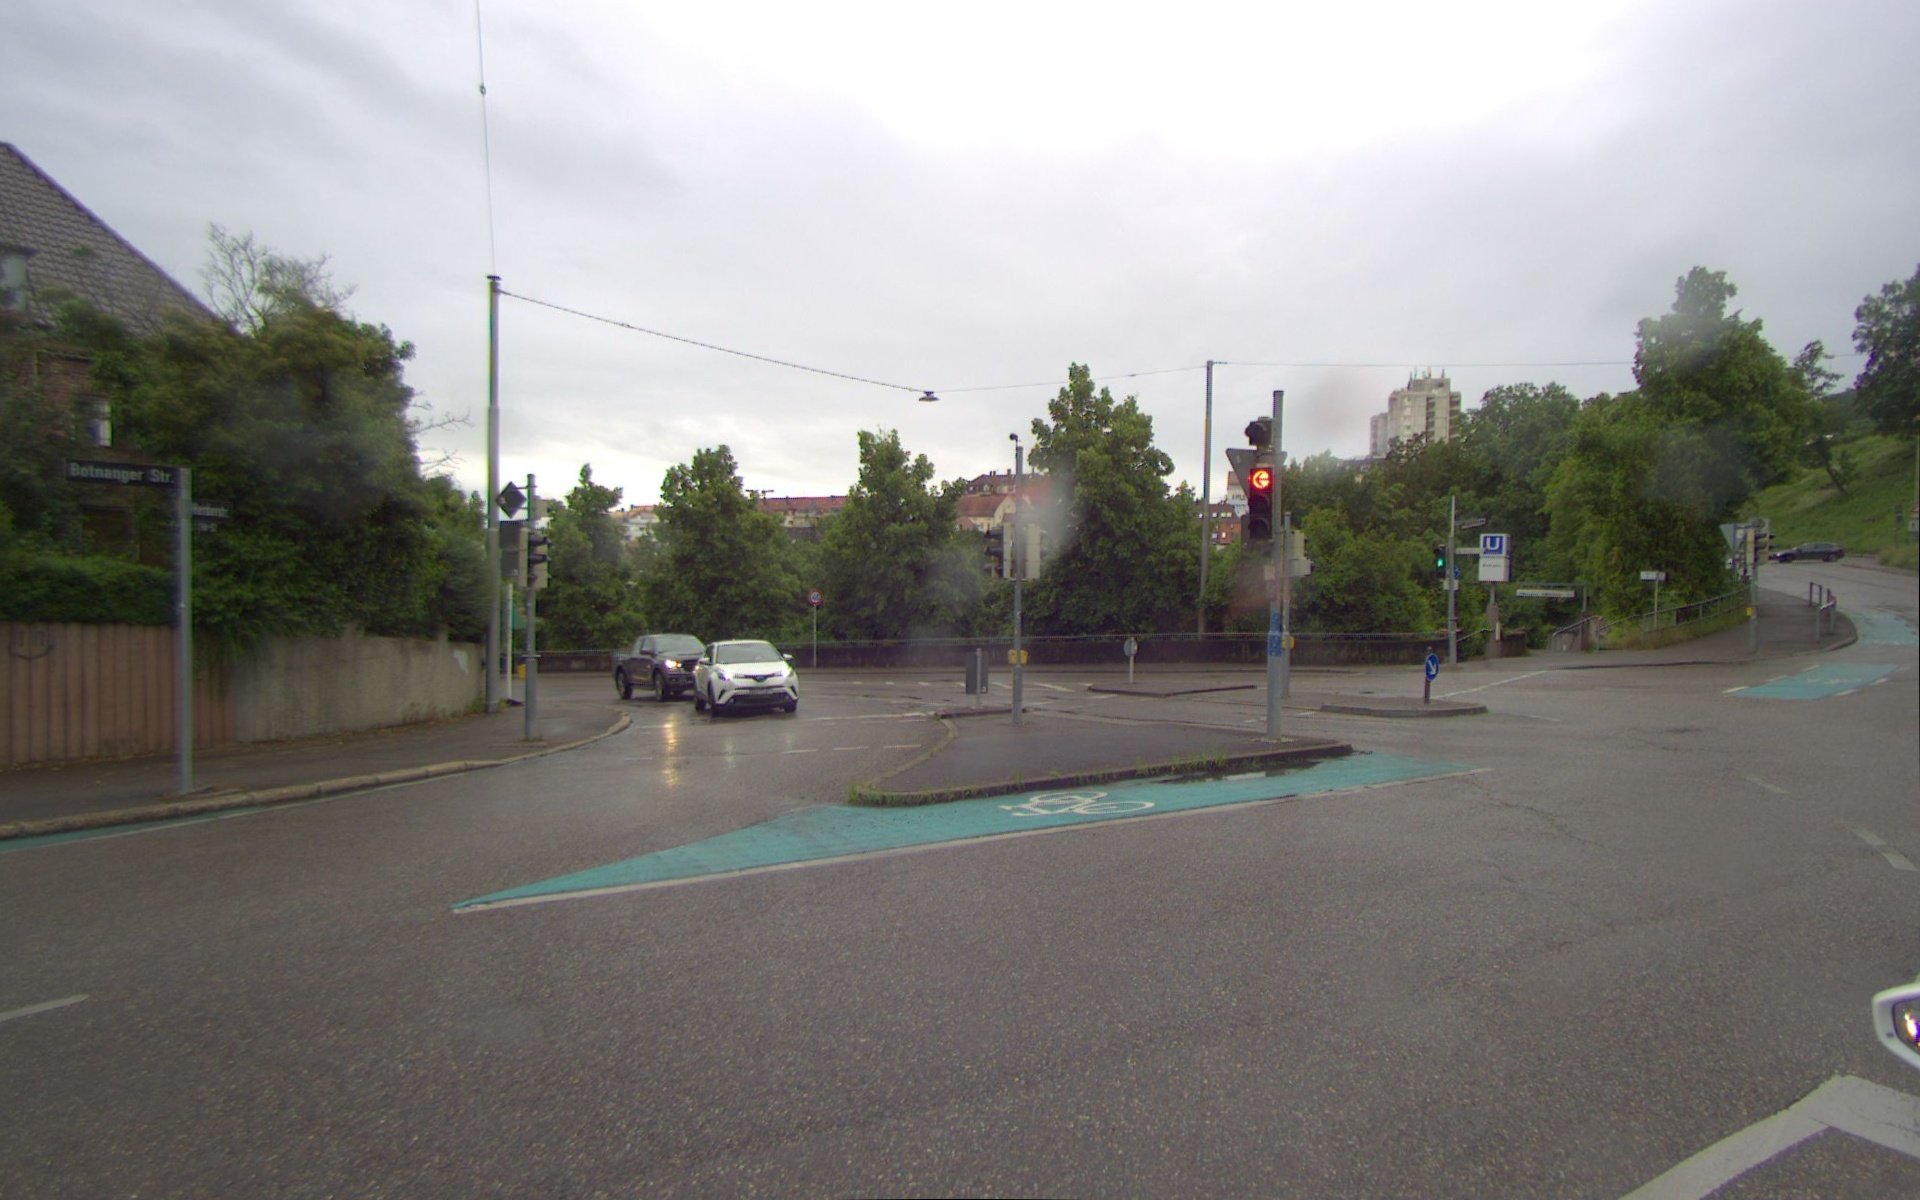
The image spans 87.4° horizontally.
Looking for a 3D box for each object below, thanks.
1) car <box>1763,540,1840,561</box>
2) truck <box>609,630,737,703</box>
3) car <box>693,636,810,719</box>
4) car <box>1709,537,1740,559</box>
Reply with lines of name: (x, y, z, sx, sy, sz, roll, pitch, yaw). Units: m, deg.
car: (63.709, -3.743, 76.150, 4.332, 1.532, 1.956, 1, 3, 36)
truck: (-8.322, 1.916, 28.773, 1.890, 1.809, 4.940, -2, -3, -36)
car: (-4.579, 1.630, 21.625, 1.810, 1.527, 3.866, -2, -2, -21)
car: (77.330, -5.246, 101.621, 2.043, 2.033, 4.787, 1, 1, 42)
